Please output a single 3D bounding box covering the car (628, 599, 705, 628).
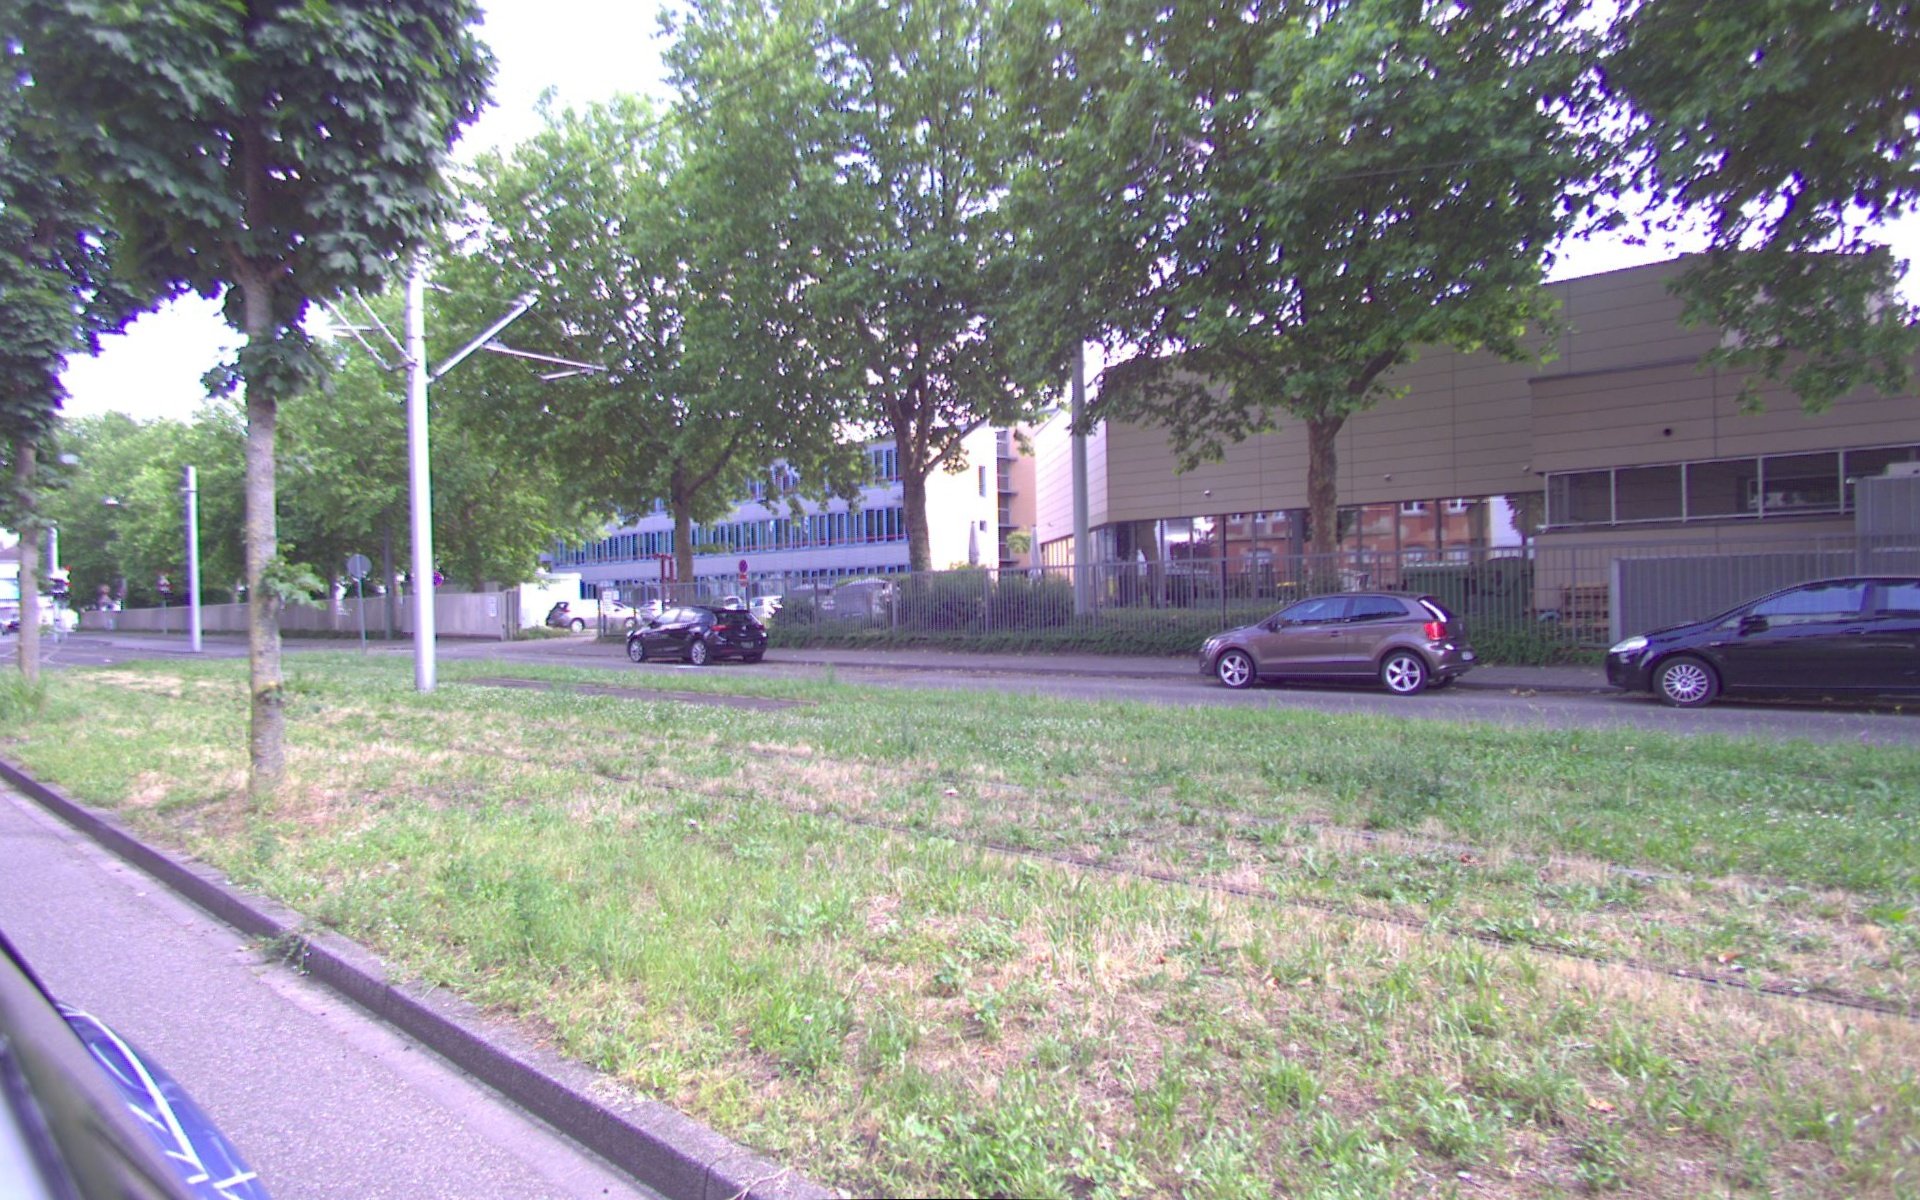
[{"bbox_3d":[-17.447,0.805,60.269,1.998,1.630,3.948,-1,0,38],"label":"car"}]

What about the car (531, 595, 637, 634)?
[{"bbox_3d":[-16.578,0.605,44.733,1.998,1.630,3.948,-1,0,38],"label":"car"}]

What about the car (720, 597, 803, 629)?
[{"bbox_3d":[-10.384,0.662,53.154,1.998,1.630,3.948,-1,0,38],"label":"car"}]

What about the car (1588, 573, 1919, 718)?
[{"bbox_3d":[9.659,0.463,11.508,4.000,1.464,1.783,-1,0,43],"label":"car"}]

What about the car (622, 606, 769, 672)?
[{"bbox_3d":[-6.636,0.933,25.194,3.999,1.475,1.580,-1,0,42],"label":"car"}]

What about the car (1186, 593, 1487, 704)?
[{"bbox_3d":[5.511,0.664,15.084,3.899,1.436,1.538,-1,0,40],"label":"car"}]
